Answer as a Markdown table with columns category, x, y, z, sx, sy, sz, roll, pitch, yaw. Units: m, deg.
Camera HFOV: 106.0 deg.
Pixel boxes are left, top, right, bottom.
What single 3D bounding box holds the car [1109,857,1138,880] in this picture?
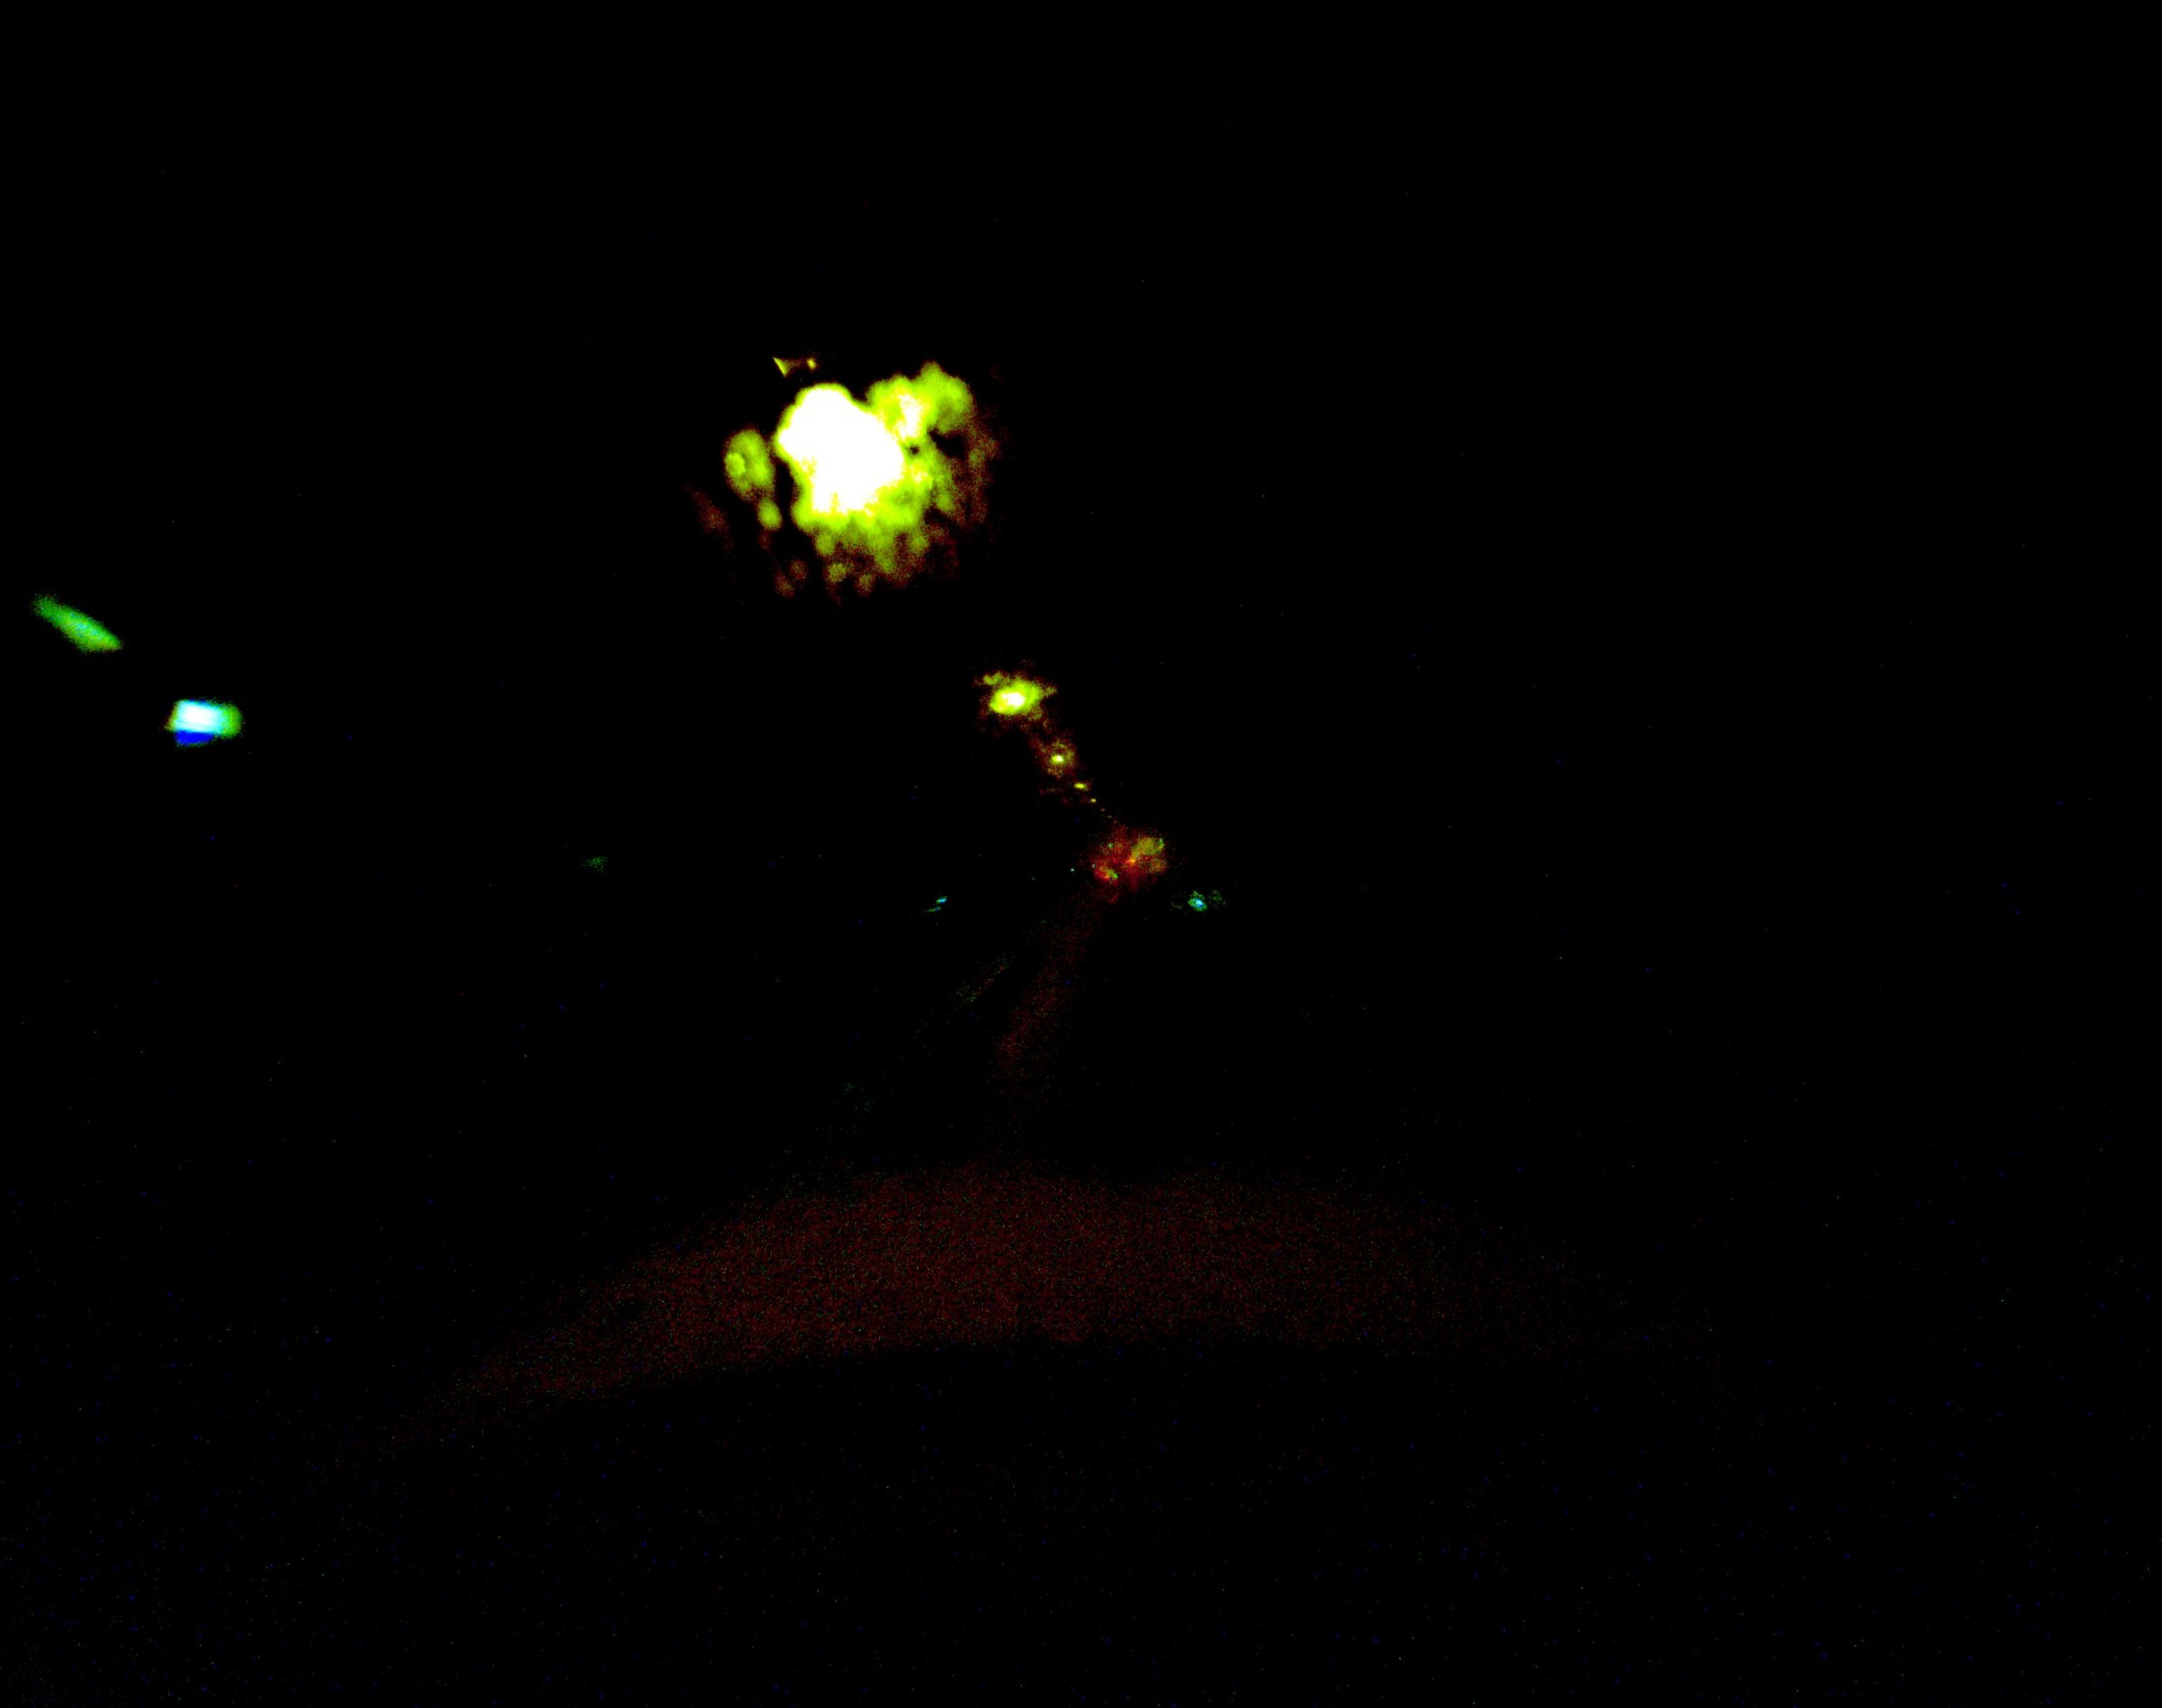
| category | x | y | z | sx | sy | sz | roll | pitch | yaw |
| --- | --- | --- | --- | --- | --- | --- | --- | --- | --- |
| car | 3.218 | 1.081 | 61.396 | 2.080 | 1.662 | 4.004 | 0 | -1 | 4 |
